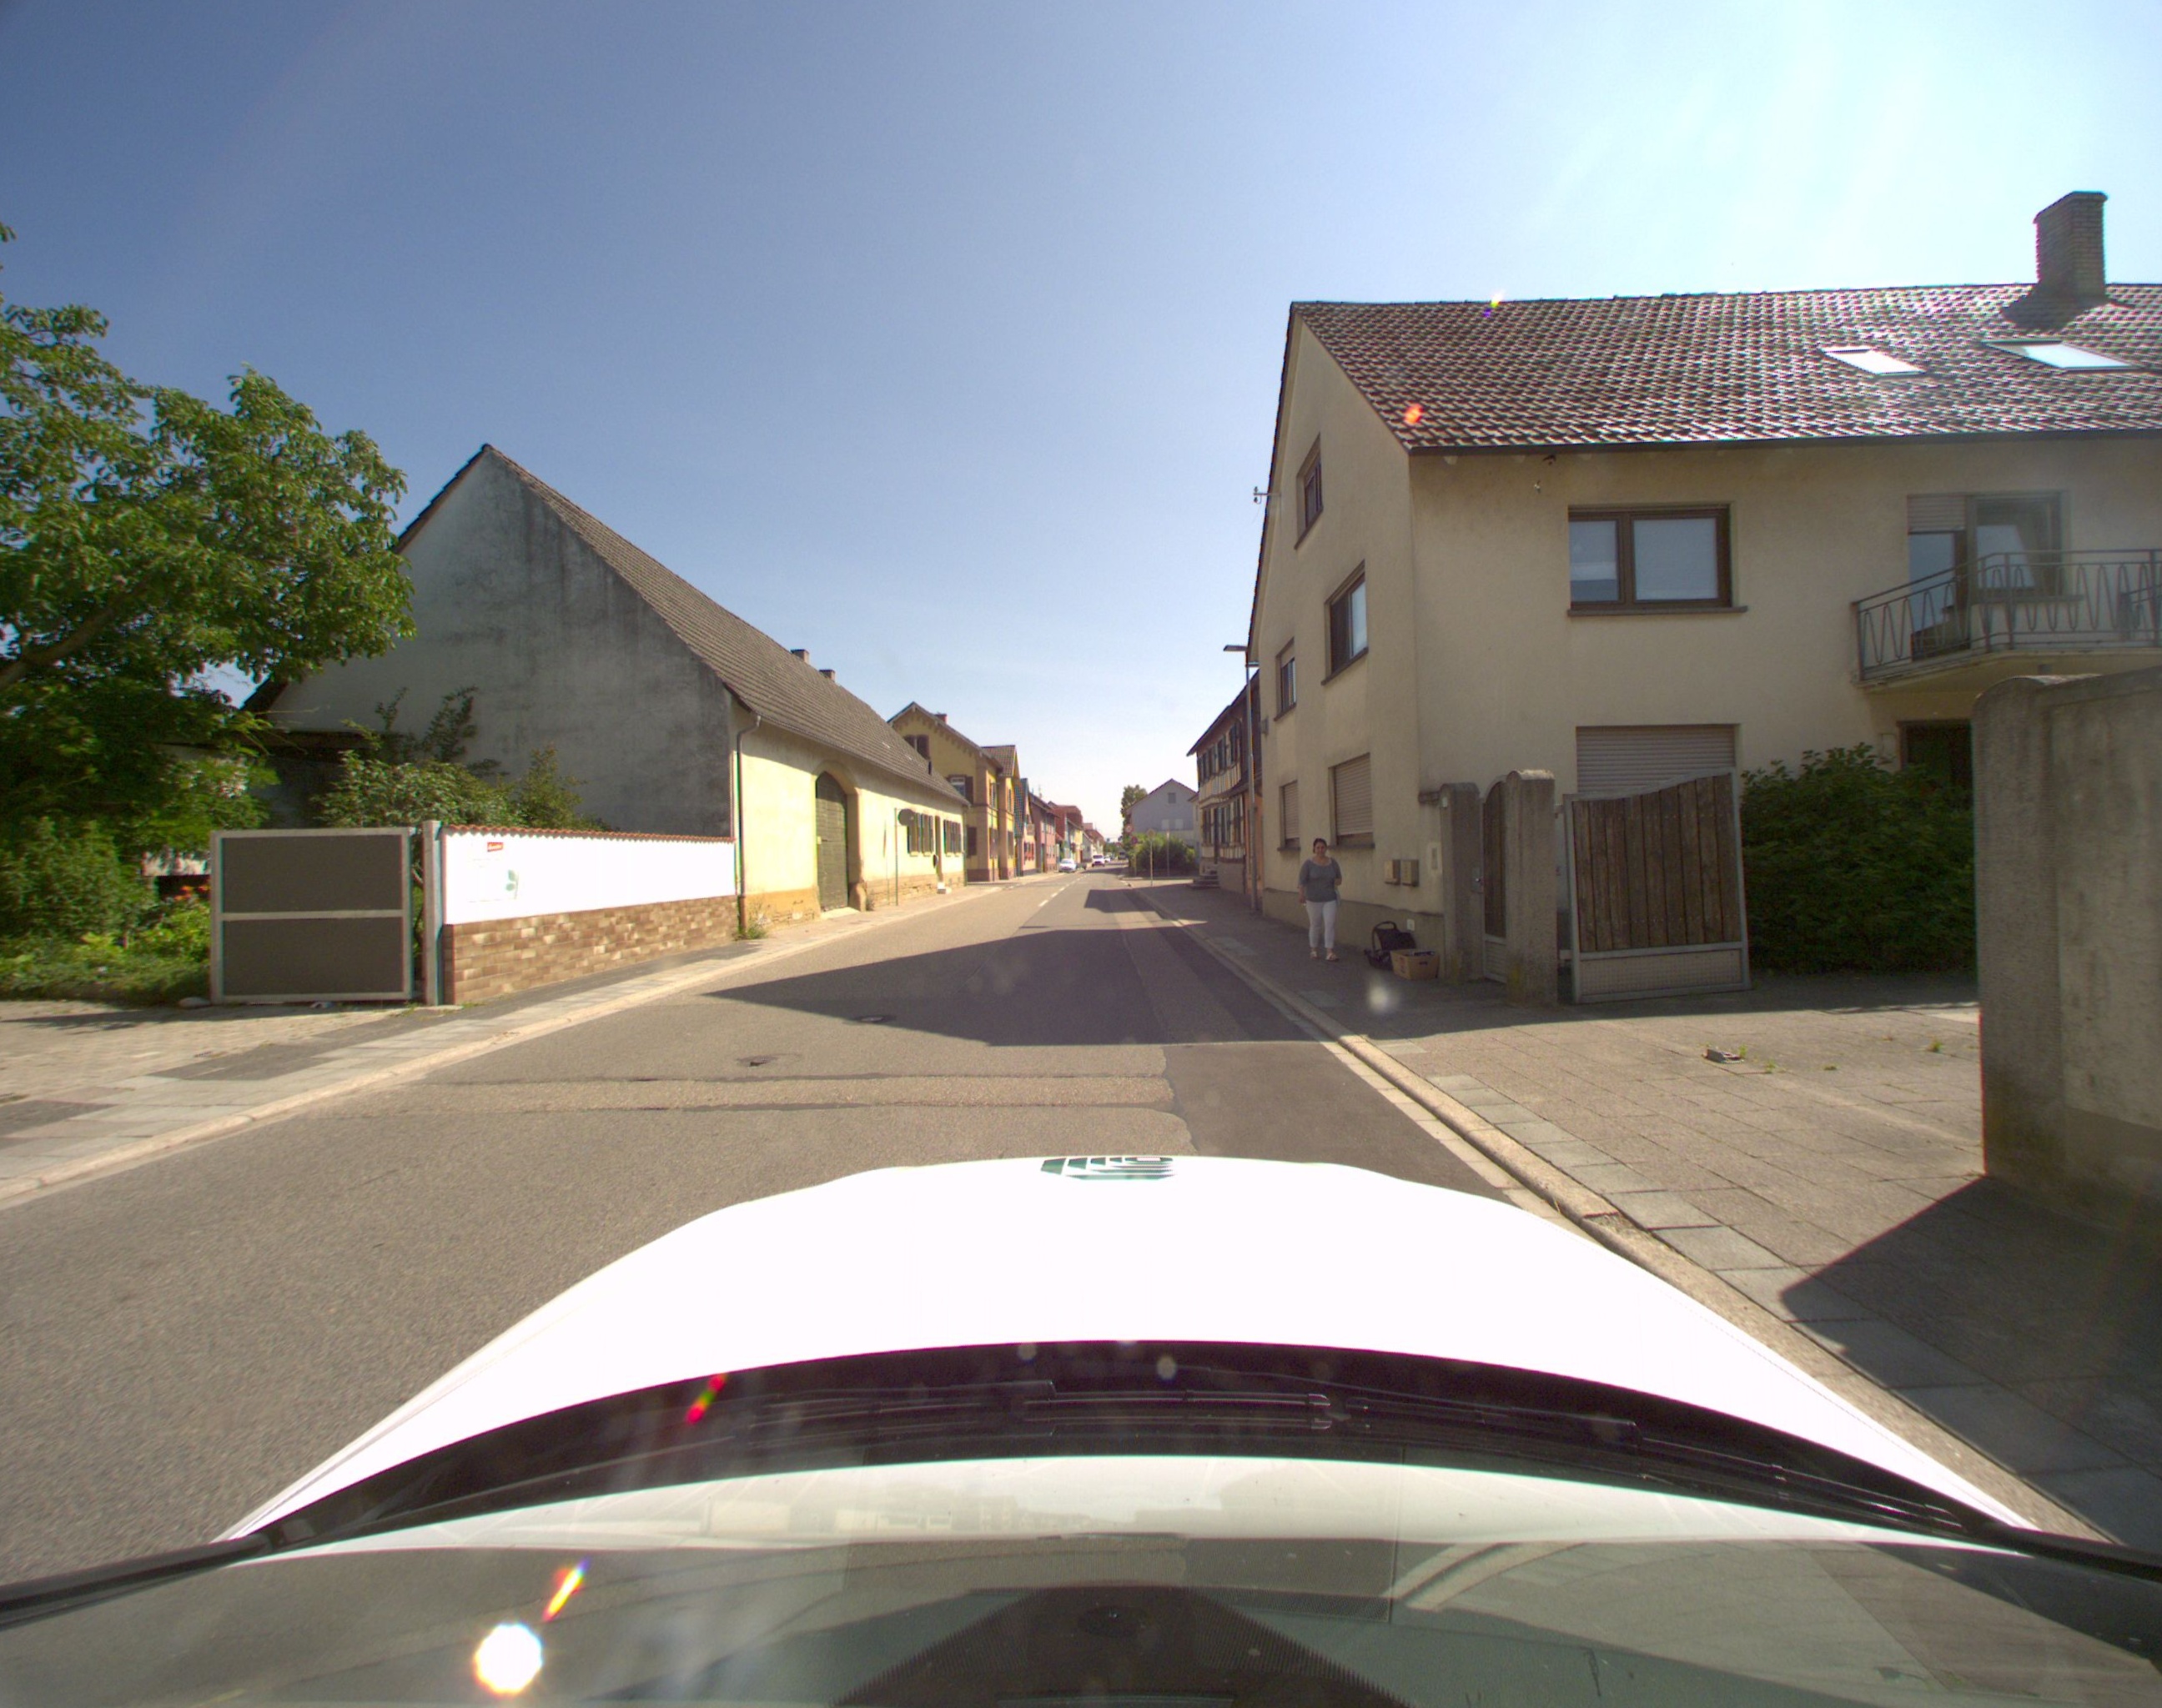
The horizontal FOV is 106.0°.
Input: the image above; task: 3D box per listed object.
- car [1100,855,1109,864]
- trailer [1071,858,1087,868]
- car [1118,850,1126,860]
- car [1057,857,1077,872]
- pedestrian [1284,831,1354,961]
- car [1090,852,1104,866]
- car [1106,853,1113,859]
[{"bbox_3d":[4.973,1.103,171.843,1.986,1.750,4.002,-1,0,2],"label":"car"},{"bbox_3d":[-0.193,1.141,106.656,1.987,1.090,4.000,-5,0,0],"label":"trailer"},{"bbox_3d":[10.894,0.162,217.331,2.010,2.567,4.001,-2,0,1],"label":"car"},{"bbox_3d":[-1.518,1.147,89.981,1.986,1.442,4.001,-2,0,1],"label":"car"},{"bbox_3d":[3.185,0.539,10.968,0.715,1.664,0.893,-1,0,5],"label":"pedestrian"},{"bbox_3d":[2.491,0.795,126.573,2.151,2.080,3.999,-2,-2,0],"label":"car"},{"bbox_3d":[8.308,0.536,237.044,1.861,1.544,3.839,-3,0,1],"label":"car"}]
